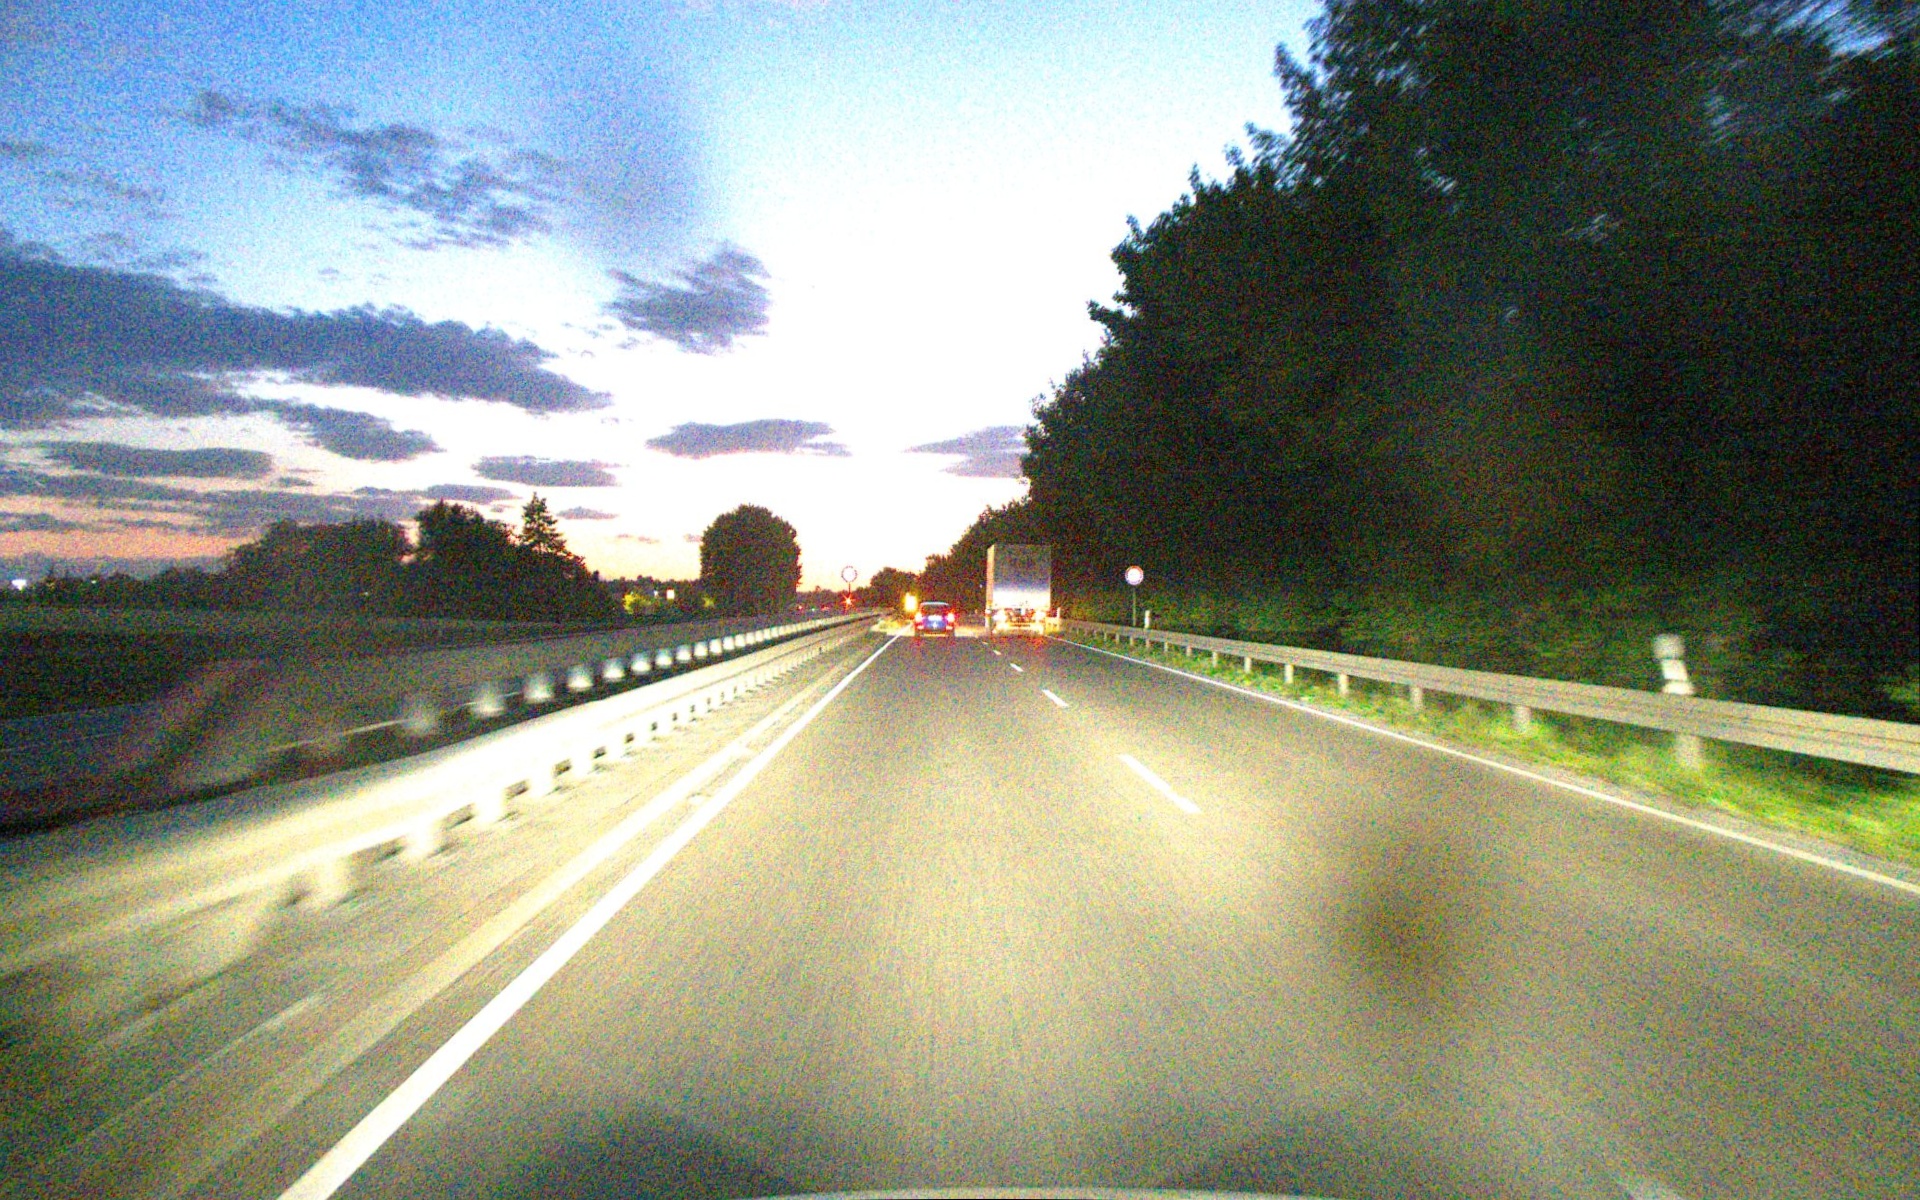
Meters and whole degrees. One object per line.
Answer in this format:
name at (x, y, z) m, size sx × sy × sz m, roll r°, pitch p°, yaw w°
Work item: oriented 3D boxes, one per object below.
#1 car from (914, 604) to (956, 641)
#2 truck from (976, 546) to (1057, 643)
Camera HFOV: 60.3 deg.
car at (-1.075, 0.909, 69.070) m, size 1.661 × 1.478 × 3.912 m, roll 1°, pitch 0°, yaw -2°
truck at (2.517, -0.251, 77.891) m, size 2.825 × 4.178 × 12.677 m, roll 1°, pitch 0°, yaw -2°
